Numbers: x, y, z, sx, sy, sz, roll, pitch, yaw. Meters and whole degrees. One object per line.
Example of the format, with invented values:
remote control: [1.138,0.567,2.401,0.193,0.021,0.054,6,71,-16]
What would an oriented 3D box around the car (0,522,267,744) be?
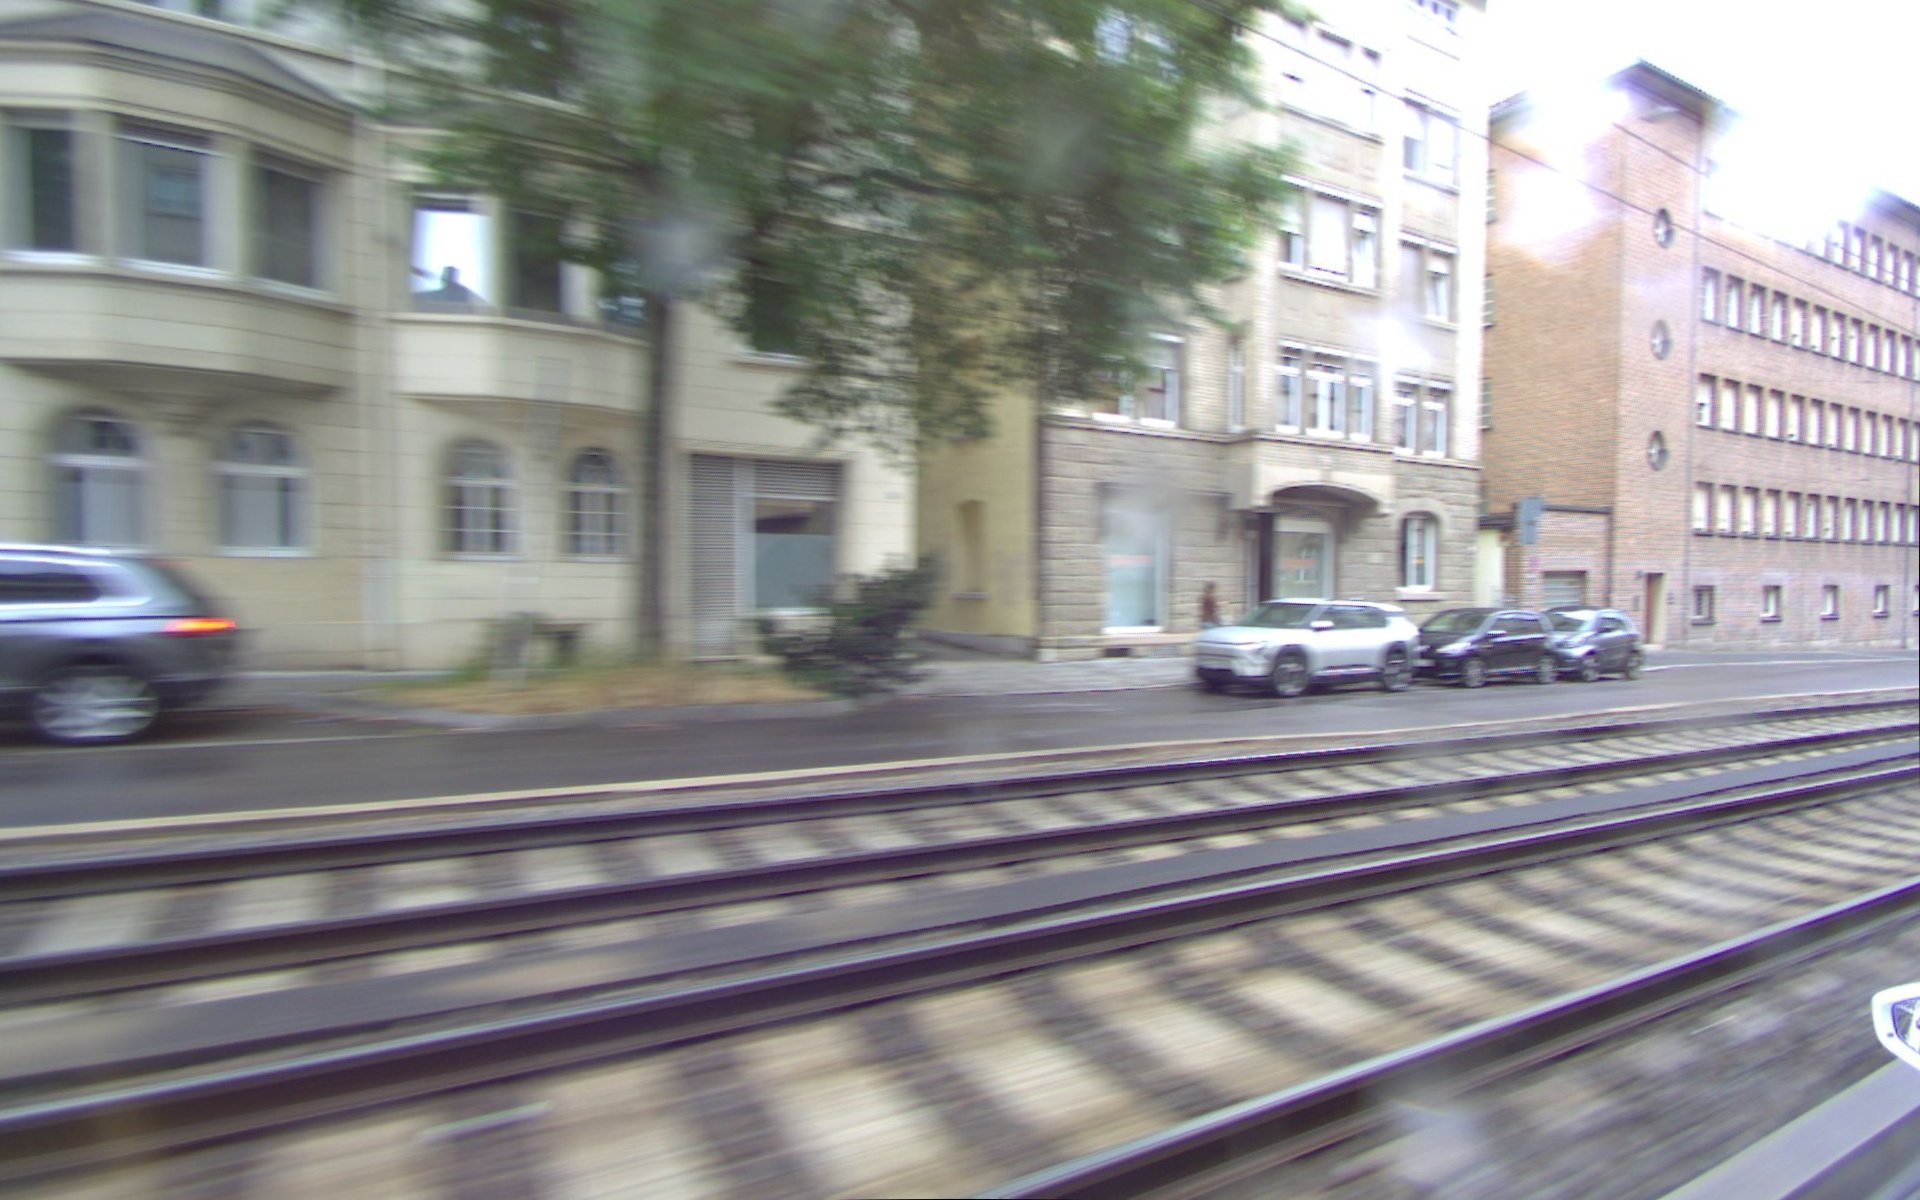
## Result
car: [-8.811,0.209,8.496,4.725,1.765,1.942,1,3,-32]

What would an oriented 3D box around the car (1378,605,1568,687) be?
car: [10.132,0.858,19.804,3.645,1.434,1.658,1,1,-31]

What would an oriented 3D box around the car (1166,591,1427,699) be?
car: [5.824,0.704,17.271,4.279,1.627,1.951,1,1,-32]

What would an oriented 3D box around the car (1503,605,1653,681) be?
car: [13.350,0.883,21.670,3.011,1.486,1.563,1,1,-32]

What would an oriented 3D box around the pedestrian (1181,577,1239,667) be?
pedestrian: [4.849,0.417,19.504,0.762,1.685,0.724,1,1,-31]
